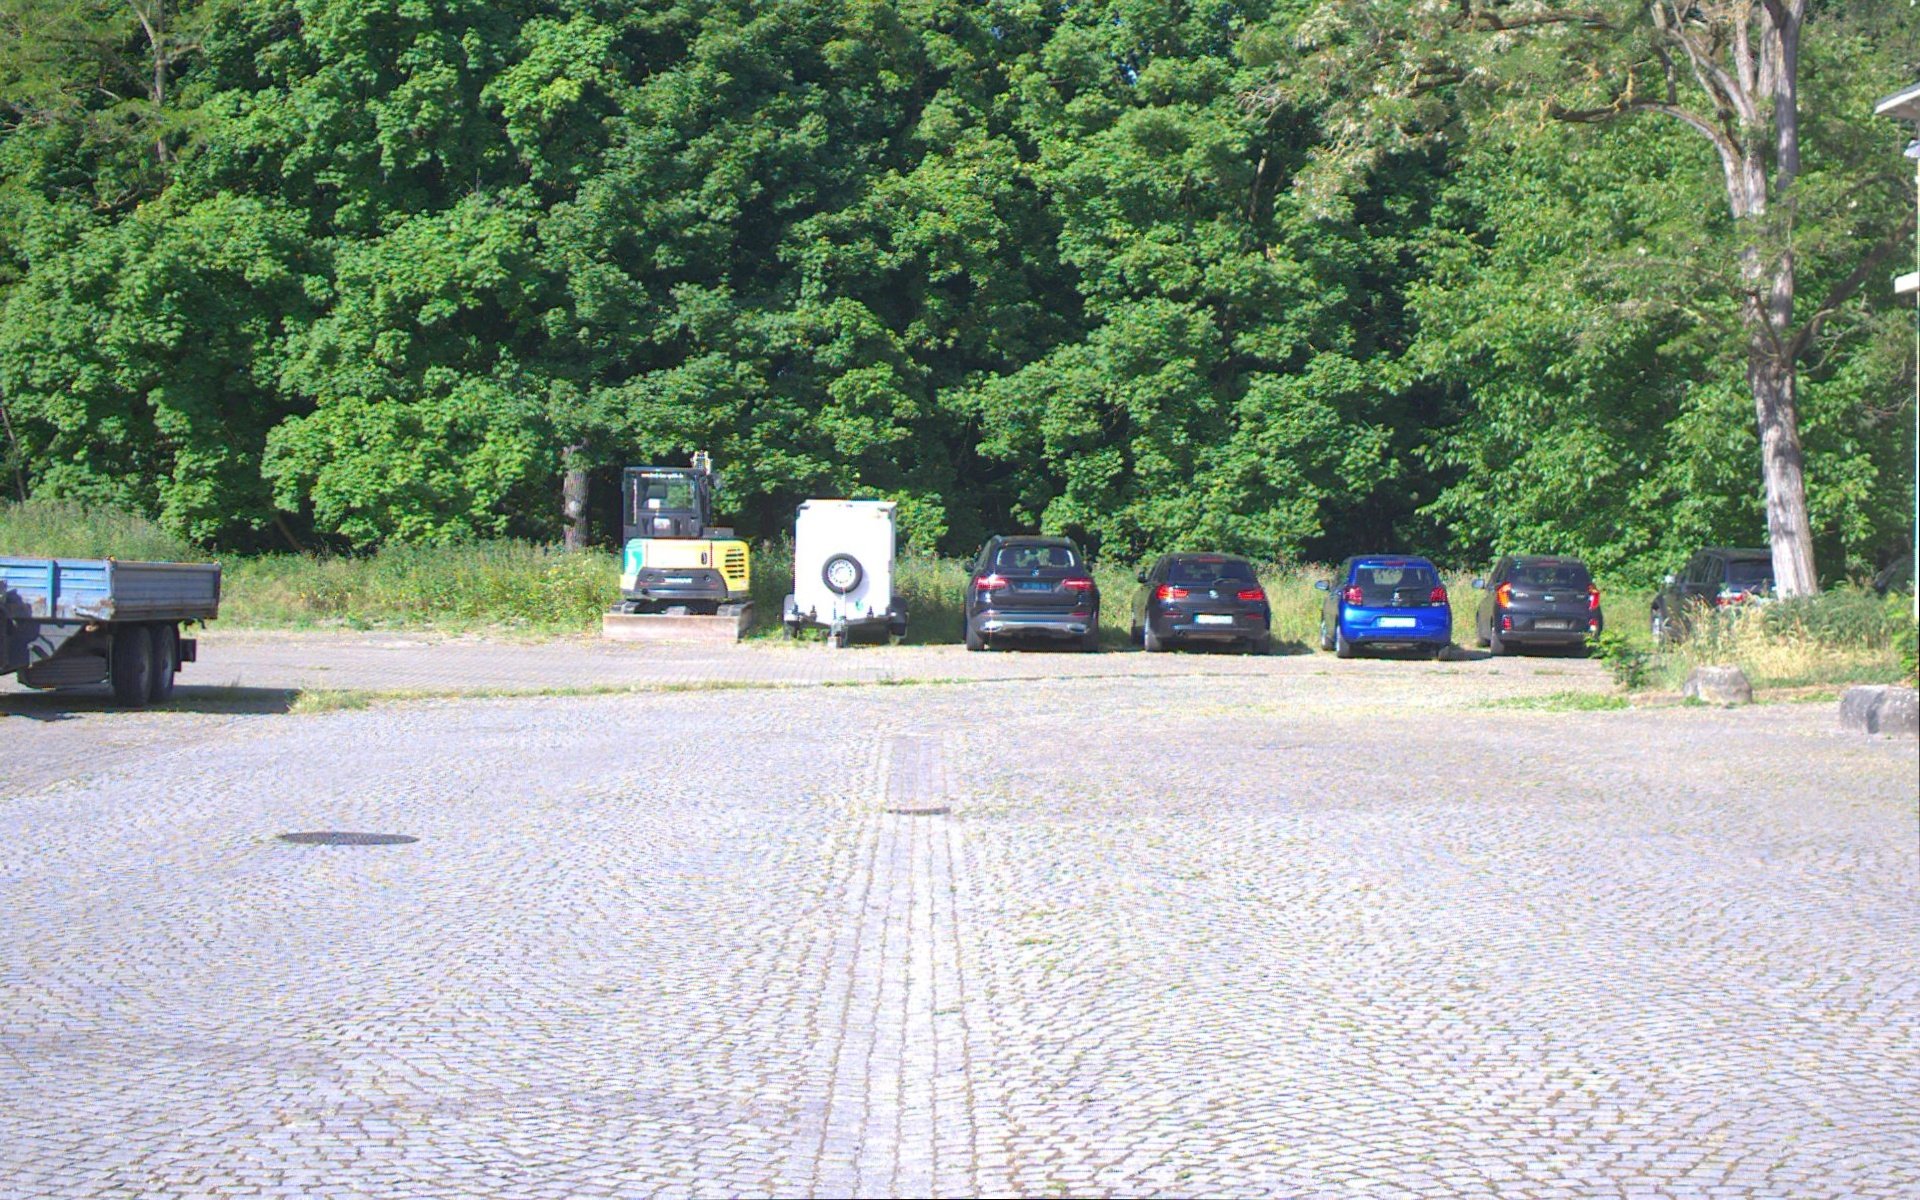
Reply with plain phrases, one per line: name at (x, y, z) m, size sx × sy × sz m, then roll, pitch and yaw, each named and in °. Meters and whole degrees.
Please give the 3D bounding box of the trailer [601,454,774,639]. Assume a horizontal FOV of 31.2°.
trailer at (-4.016, -0.833, 51.152) m, size 2.258 × 2.529 × 2.851 m, roll 1°, pitch 4°, yaw 1°

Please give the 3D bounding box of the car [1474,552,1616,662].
car at (8.663, 0.072, 51.136) m, size 1.739 × 1.446 × 3.724 m, roll 1°, pitch 2°, yaw 5°

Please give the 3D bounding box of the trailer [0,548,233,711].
trailer at (-8.742, 0.222, 32.688) m, size 2.640 × 1.410 × 4.862 m, roll 1°, pitch 0°, yaw 0°

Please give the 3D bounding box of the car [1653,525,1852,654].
car at (11.633, -0.196, 50.728) m, size 1.874 × 1.625 × 4.274 m, roll 1°, pitch 3°, yaw 0°

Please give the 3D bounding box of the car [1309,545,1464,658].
car at (6.137, -0.013, 49.822) m, size 1.780 × 1.453 × 3.790 m, roll 1°, pitch 2°, yaw 0°

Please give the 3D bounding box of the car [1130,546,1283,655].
car at (3.538, -0.026, 50.006) m, size 1.889 × 1.406 × 3.790 m, roll 1°, pitch 2°, yaw 0°

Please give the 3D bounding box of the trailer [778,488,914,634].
trailer at (-1.663, -0.602, 50.791) m, size 1.818 × 2.043 × 2.850 m, roll 1°, pitch 2°, yaw 1°

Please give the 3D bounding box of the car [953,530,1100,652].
car at (0.916, -0.167, 49.646) m, size 1.964 × 1.584 × 4.132 m, roll 1°, pitch 2°, yaw 0°
